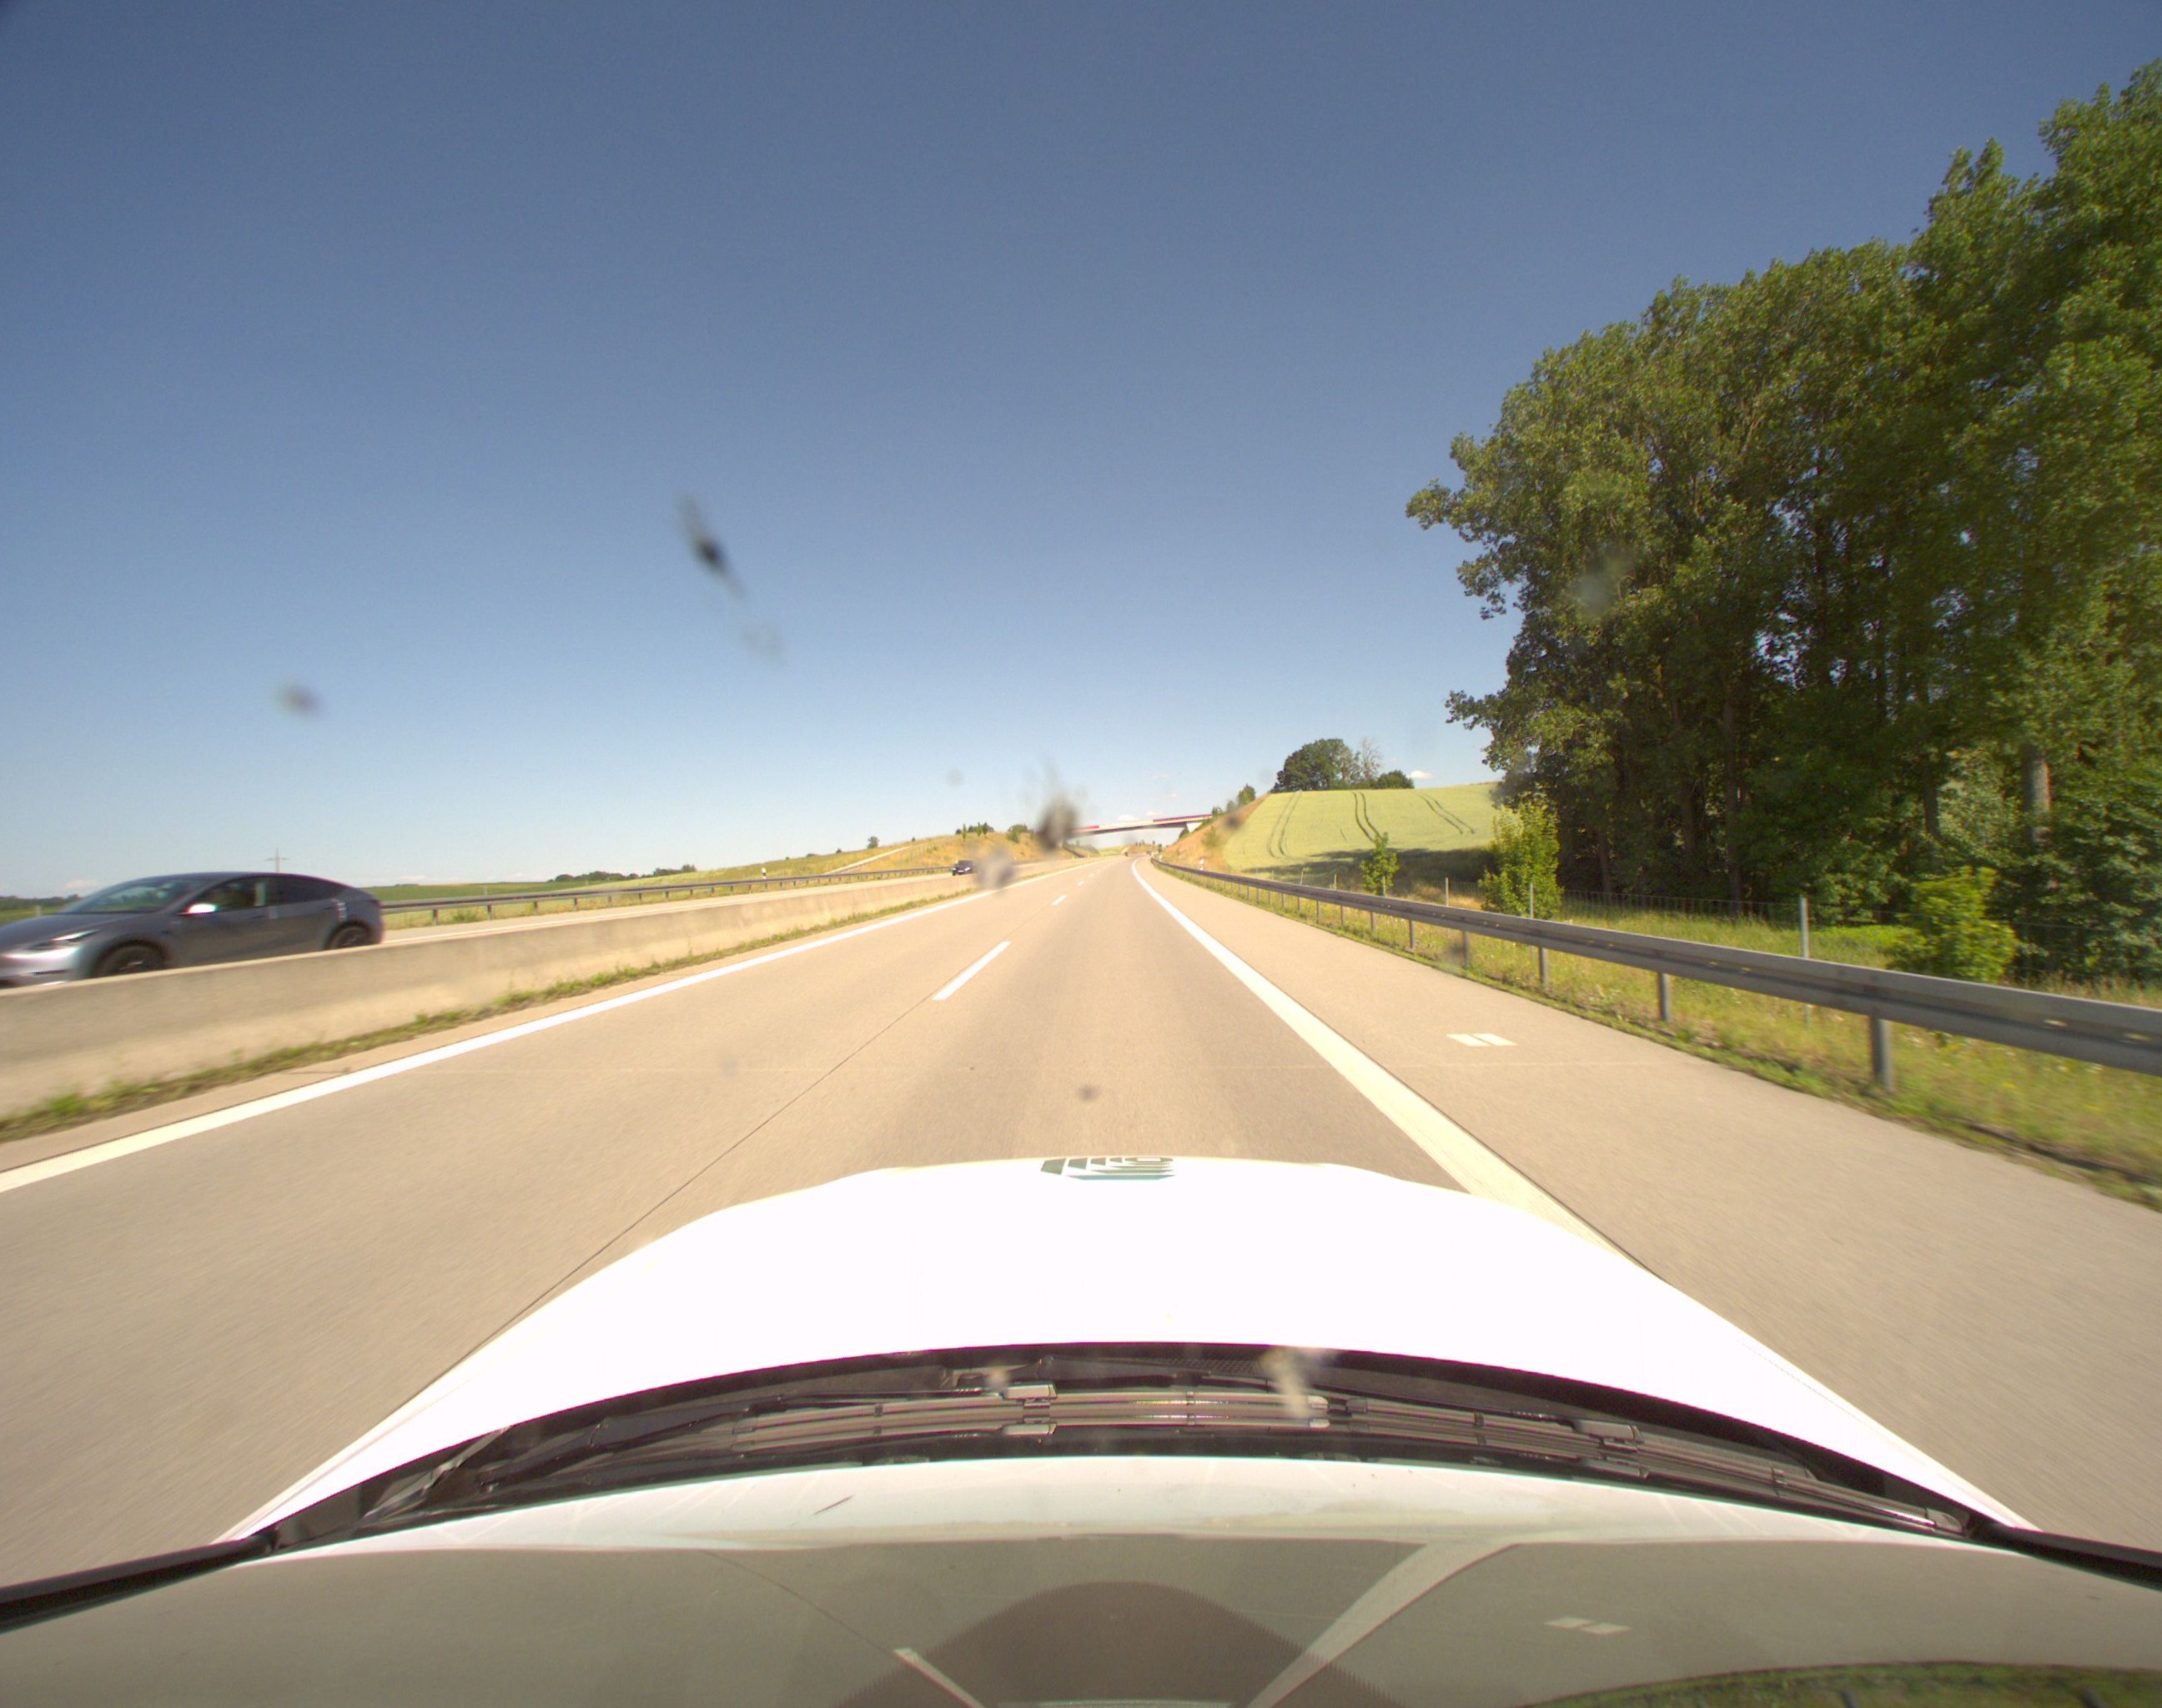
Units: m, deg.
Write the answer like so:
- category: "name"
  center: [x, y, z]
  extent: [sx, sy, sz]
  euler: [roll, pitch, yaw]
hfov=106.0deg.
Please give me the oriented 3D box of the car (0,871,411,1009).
- category: "car"
  center: [-12.833, 1.076, 12.031]
  extent: [1.805, 1.615, 4.680]
  euler: [0, -1, 3]

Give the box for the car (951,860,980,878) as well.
- category: "car"
  center: [-10.969, 1.423, 77.635]
  extent: [1.805, 1.615, 4.680]
  euler: [0, -1, 3]
